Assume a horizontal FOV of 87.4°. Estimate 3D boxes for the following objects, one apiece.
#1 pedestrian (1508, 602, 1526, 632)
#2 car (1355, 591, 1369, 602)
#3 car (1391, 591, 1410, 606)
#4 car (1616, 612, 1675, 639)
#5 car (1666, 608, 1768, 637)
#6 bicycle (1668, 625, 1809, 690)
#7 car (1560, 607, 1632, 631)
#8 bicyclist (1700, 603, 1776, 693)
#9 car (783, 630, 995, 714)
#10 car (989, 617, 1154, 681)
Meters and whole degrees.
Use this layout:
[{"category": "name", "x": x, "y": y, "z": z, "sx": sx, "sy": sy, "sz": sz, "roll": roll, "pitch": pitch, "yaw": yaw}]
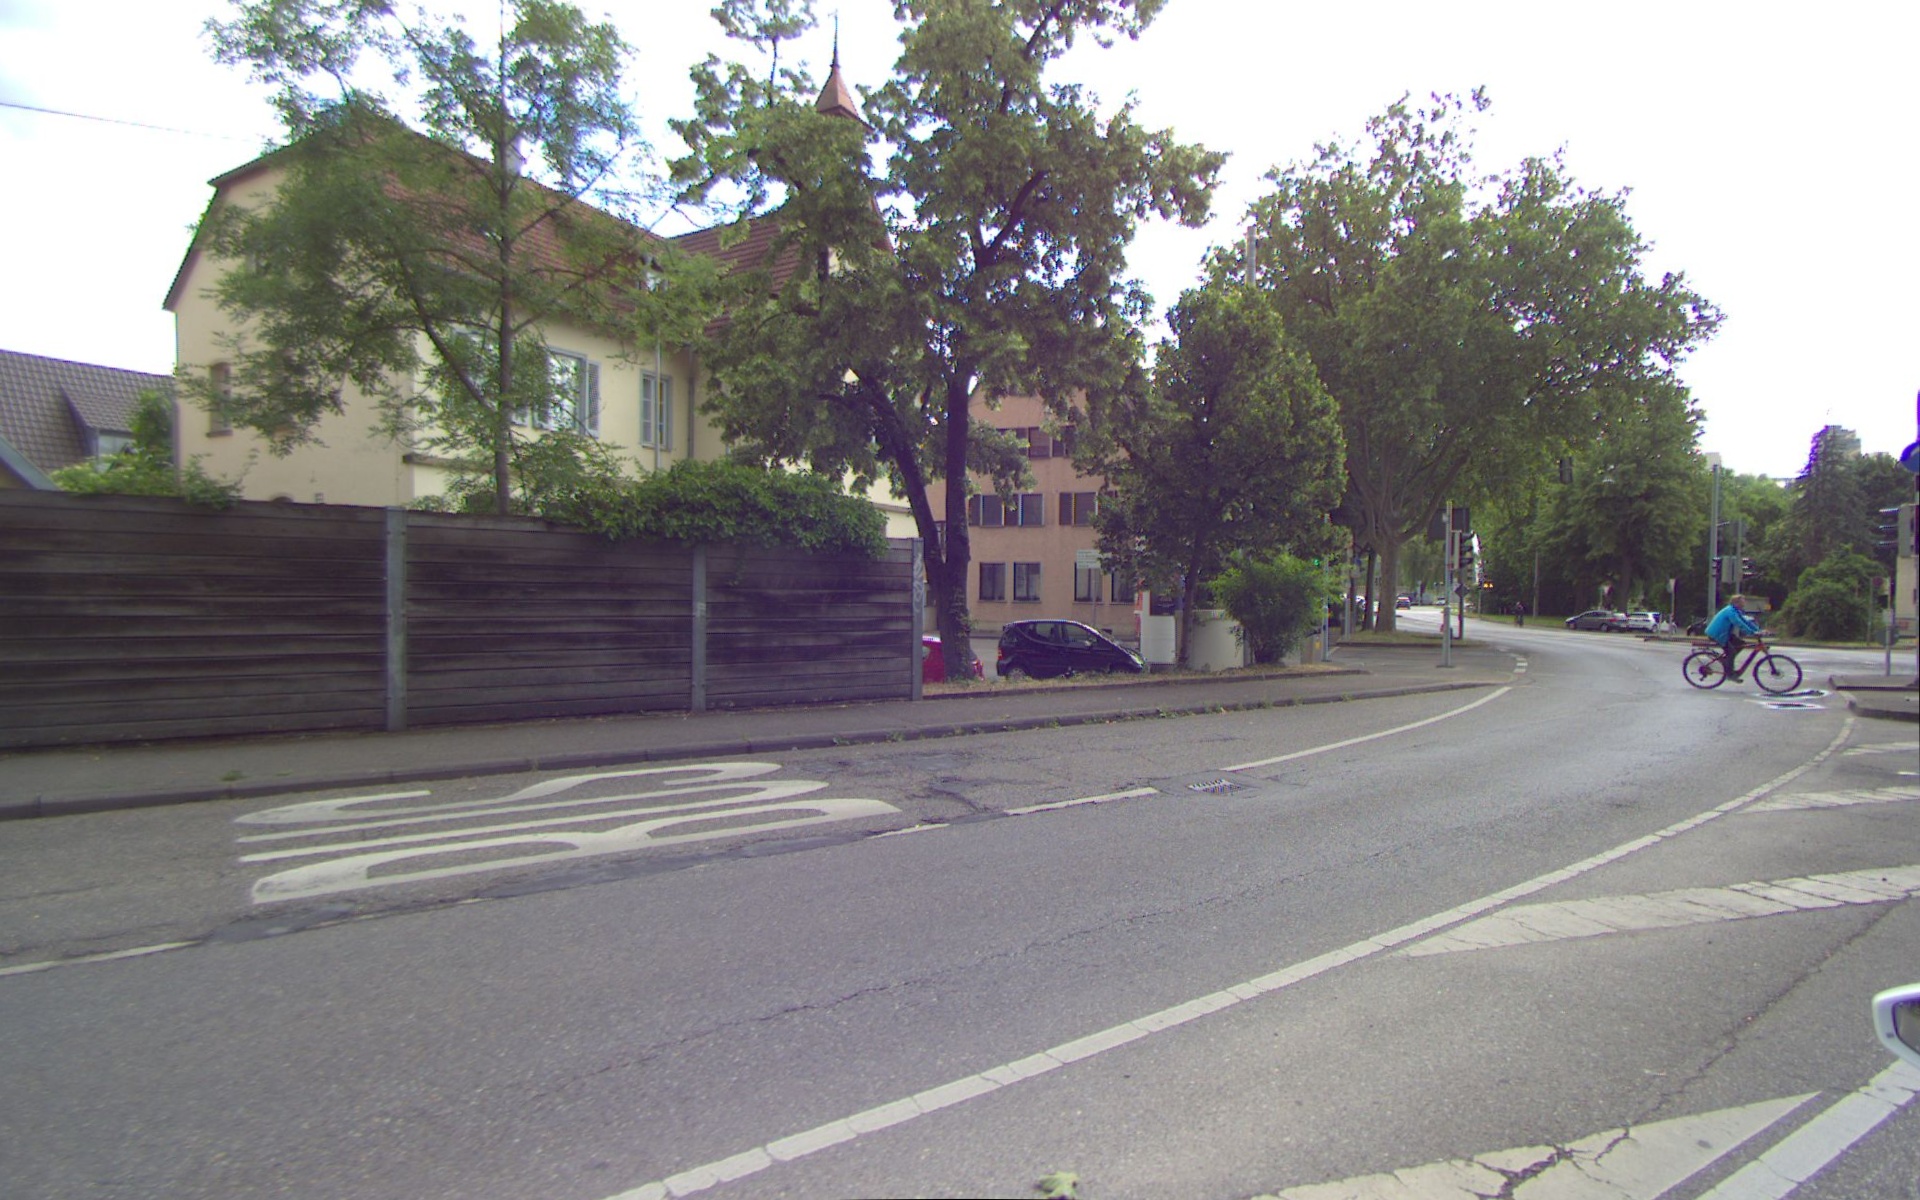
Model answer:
[{"category": "pedestrian", "x": 41.090, "y": 1.222, "z": 74.116, "sx": 0.761, "sy": 2.207, "sz": 0.860, "roll": 1, "pitch": 0, "yaw": -5}, {"category": "car", "x": 72.207, "y": -0.574, "z": 180.395, "sx": 1.964, "sy": 1.907, "sz": 3.994, "roll": 0, "pitch": -1, "yaw": 28}, {"category": "car", "x": 61.418, "y": -0.185, "z": 139.968, "sx": 1.964, "sy": 1.907, "sz": 3.992, "roll": 0, "pitch": -1, "yaw": 30}, {"category": "car", "x": 47.983, "y": 1.778, "z": 70.278, "sx": 3.954, "sy": 1.795, "sz": 1.984, "roll": 1, "pitch": -1, "yaw": -31}, {"category": "car", "x": 42.761, "y": 1.249, "z": 56.861, "sx": 1.963, "sy": 1.537, "sz": 4.586, "roll": 1, "pitch": -1, "yaw": -8}, {"category": "bicycle", "x": 14.703, "y": 1.058, "z": 19.026, "sx": 2.044, "sy": 1.096, "sz": 0.937, "roll": 1, "pitch": 0, "yaw": 38}, {"category": "car", "x": 44.403, "y": 1.316, "z": 70.182, "sx": 1.967, "sy": 1.595, "sz": 3.988, "roll": 1, "pitch": -1, "yaw": -15}, {"category": "bicyclist", "x": 14.706, "y": 0.875, "z": 19.016, "sx": 1.085, "sy": 1.621, "sz": 0.937, "roll": 1, "pitch": 0, "yaw": 38}, {"category": "car", "x": -1.355, "y": 1.325, "z": 19.407, "sx": 3.683, "sy": 1.421, "sz": 1.737, "roll": 0, "pitch": -1, "yaw": 21}, {"category": "car", "x": 2.651, "y": 1.104, "z": 23.566, "sx": 3.617, "sy": 1.392, "sz": 1.738, "roll": 0, "pitch": -1, "yaw": 15}]
